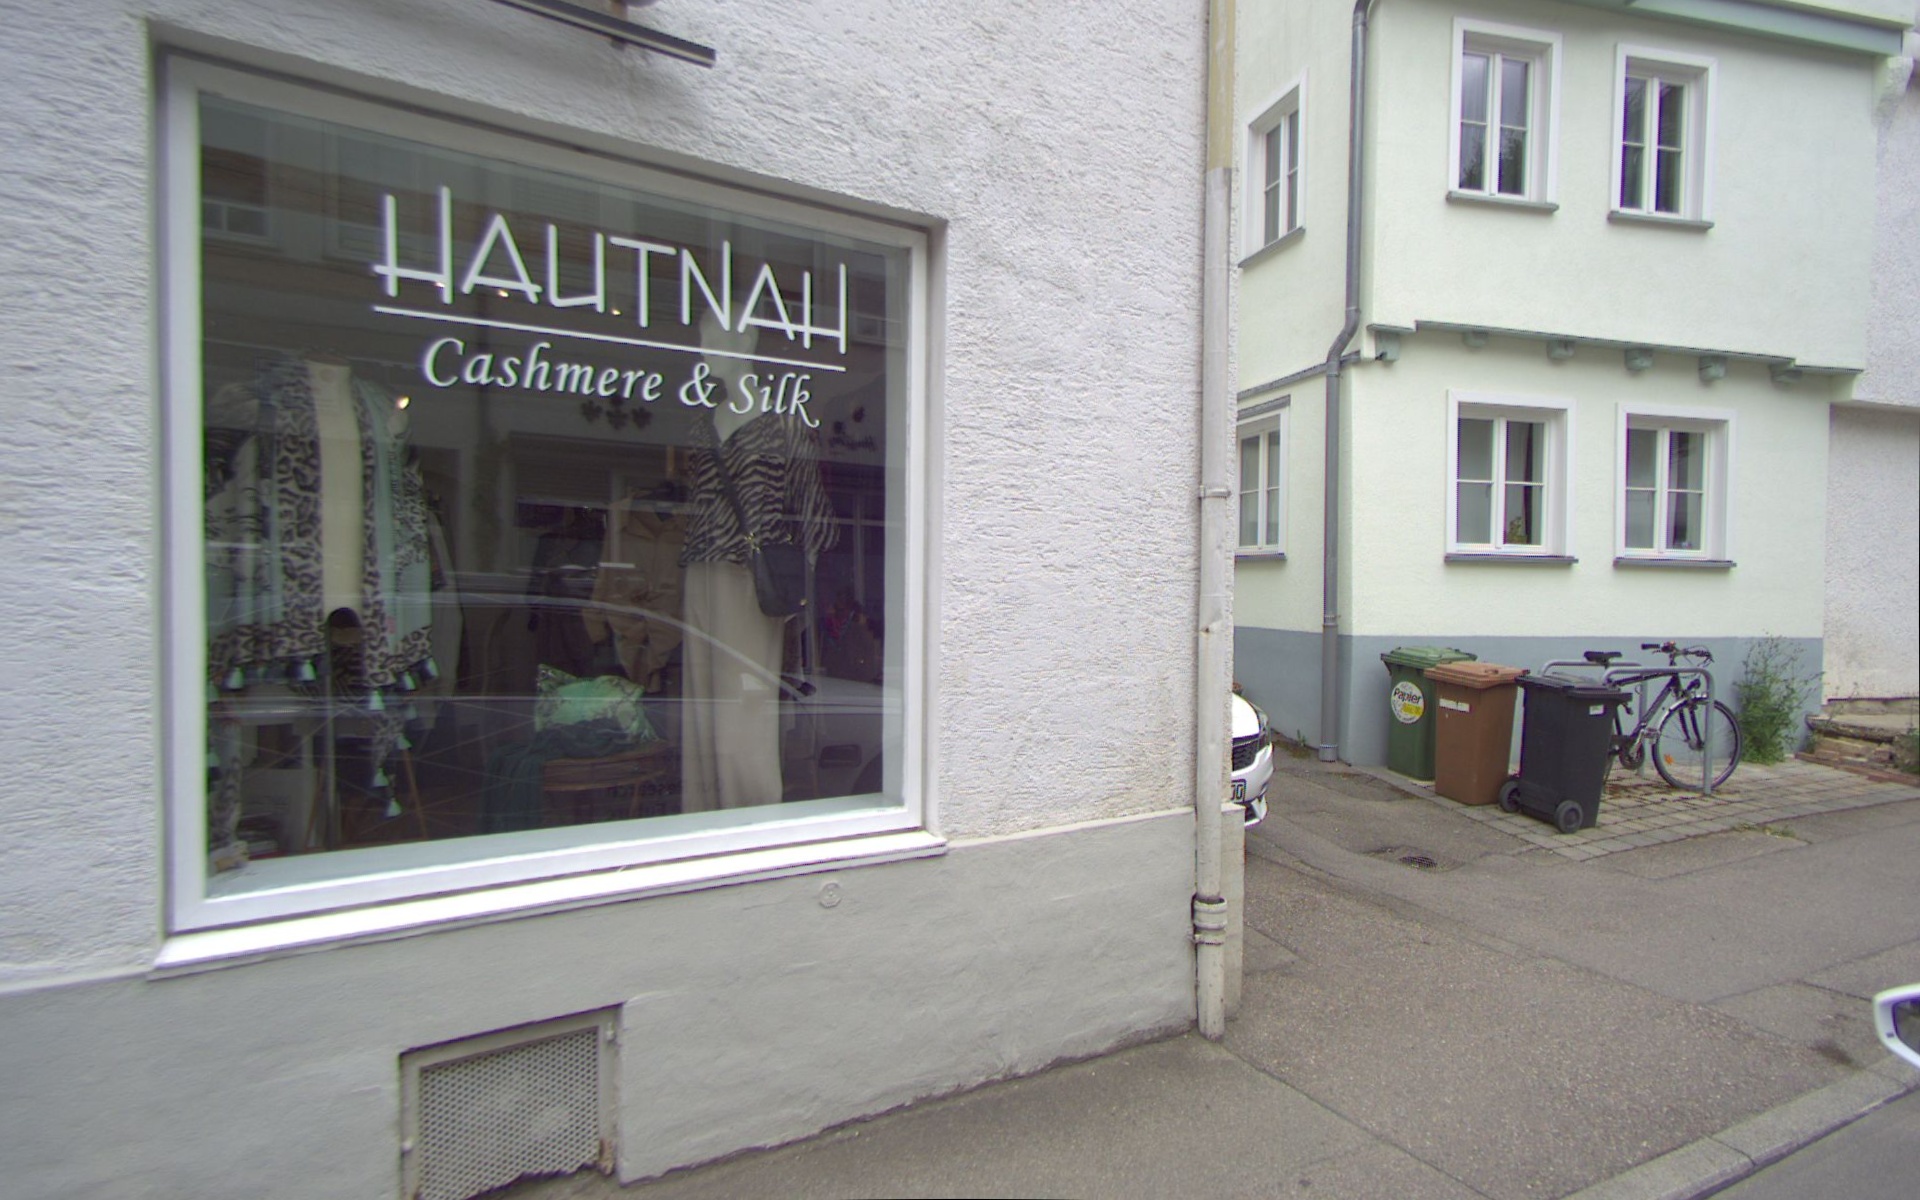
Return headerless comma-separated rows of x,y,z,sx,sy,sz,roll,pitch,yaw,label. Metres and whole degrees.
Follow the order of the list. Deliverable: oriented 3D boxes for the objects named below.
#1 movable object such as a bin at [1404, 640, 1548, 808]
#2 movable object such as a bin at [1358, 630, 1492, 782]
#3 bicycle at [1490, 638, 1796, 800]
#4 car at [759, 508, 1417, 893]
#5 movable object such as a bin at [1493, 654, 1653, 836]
3.505,0.821,6.860,0.589,1.014,0.568,-1,6,-16,movable object such as a bin
3.440,0.766,7.467,0.612,1.014,0.555,0,7,-16,movable object such as a bin
4.901,0.831,7.221,2.055,1.053,0.442,1,5,-12,bicycle
0.380,0.329,6.785,1.956,1.520,4.513,4,4,-31,car
3.879,0.895,6.389,0.577,1.014,0.553,-1,7,-15,movable object such as a bin
